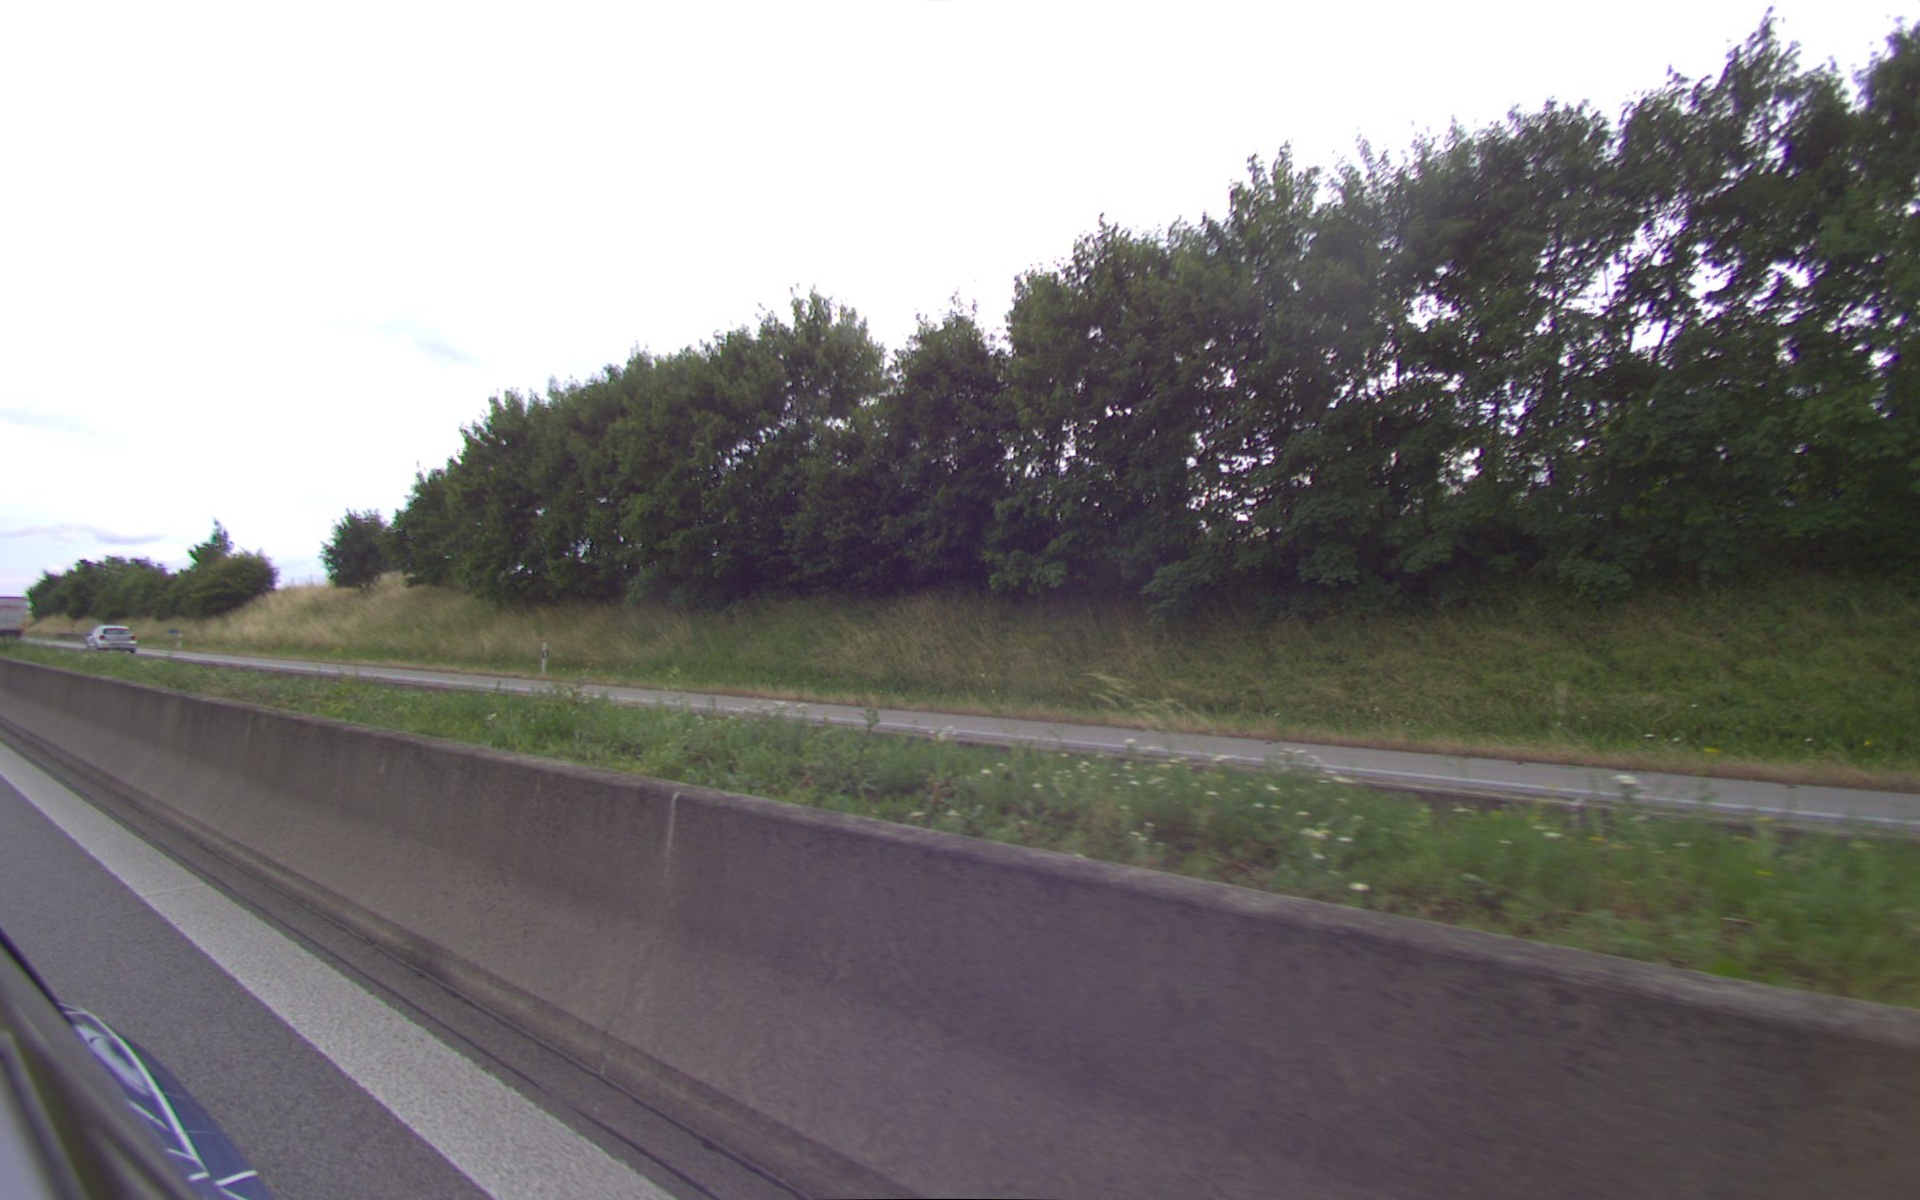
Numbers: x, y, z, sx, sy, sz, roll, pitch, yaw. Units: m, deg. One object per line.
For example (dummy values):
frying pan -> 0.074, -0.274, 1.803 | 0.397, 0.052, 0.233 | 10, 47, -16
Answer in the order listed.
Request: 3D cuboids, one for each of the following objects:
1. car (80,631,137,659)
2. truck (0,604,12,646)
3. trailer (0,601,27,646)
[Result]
car -> -44.773, 2.348, 53.190 | 3.885, 1.420, 1.629 | -1, -4, 41
truck -> -97.978, 2.509, 102.136 | 5.162, 4.120, 2.678 | -2, -4, 42
trailer -> -92.676, 2.321, 97.350 | 14.591, 4.120, 2.677 | -2, -4, 42
